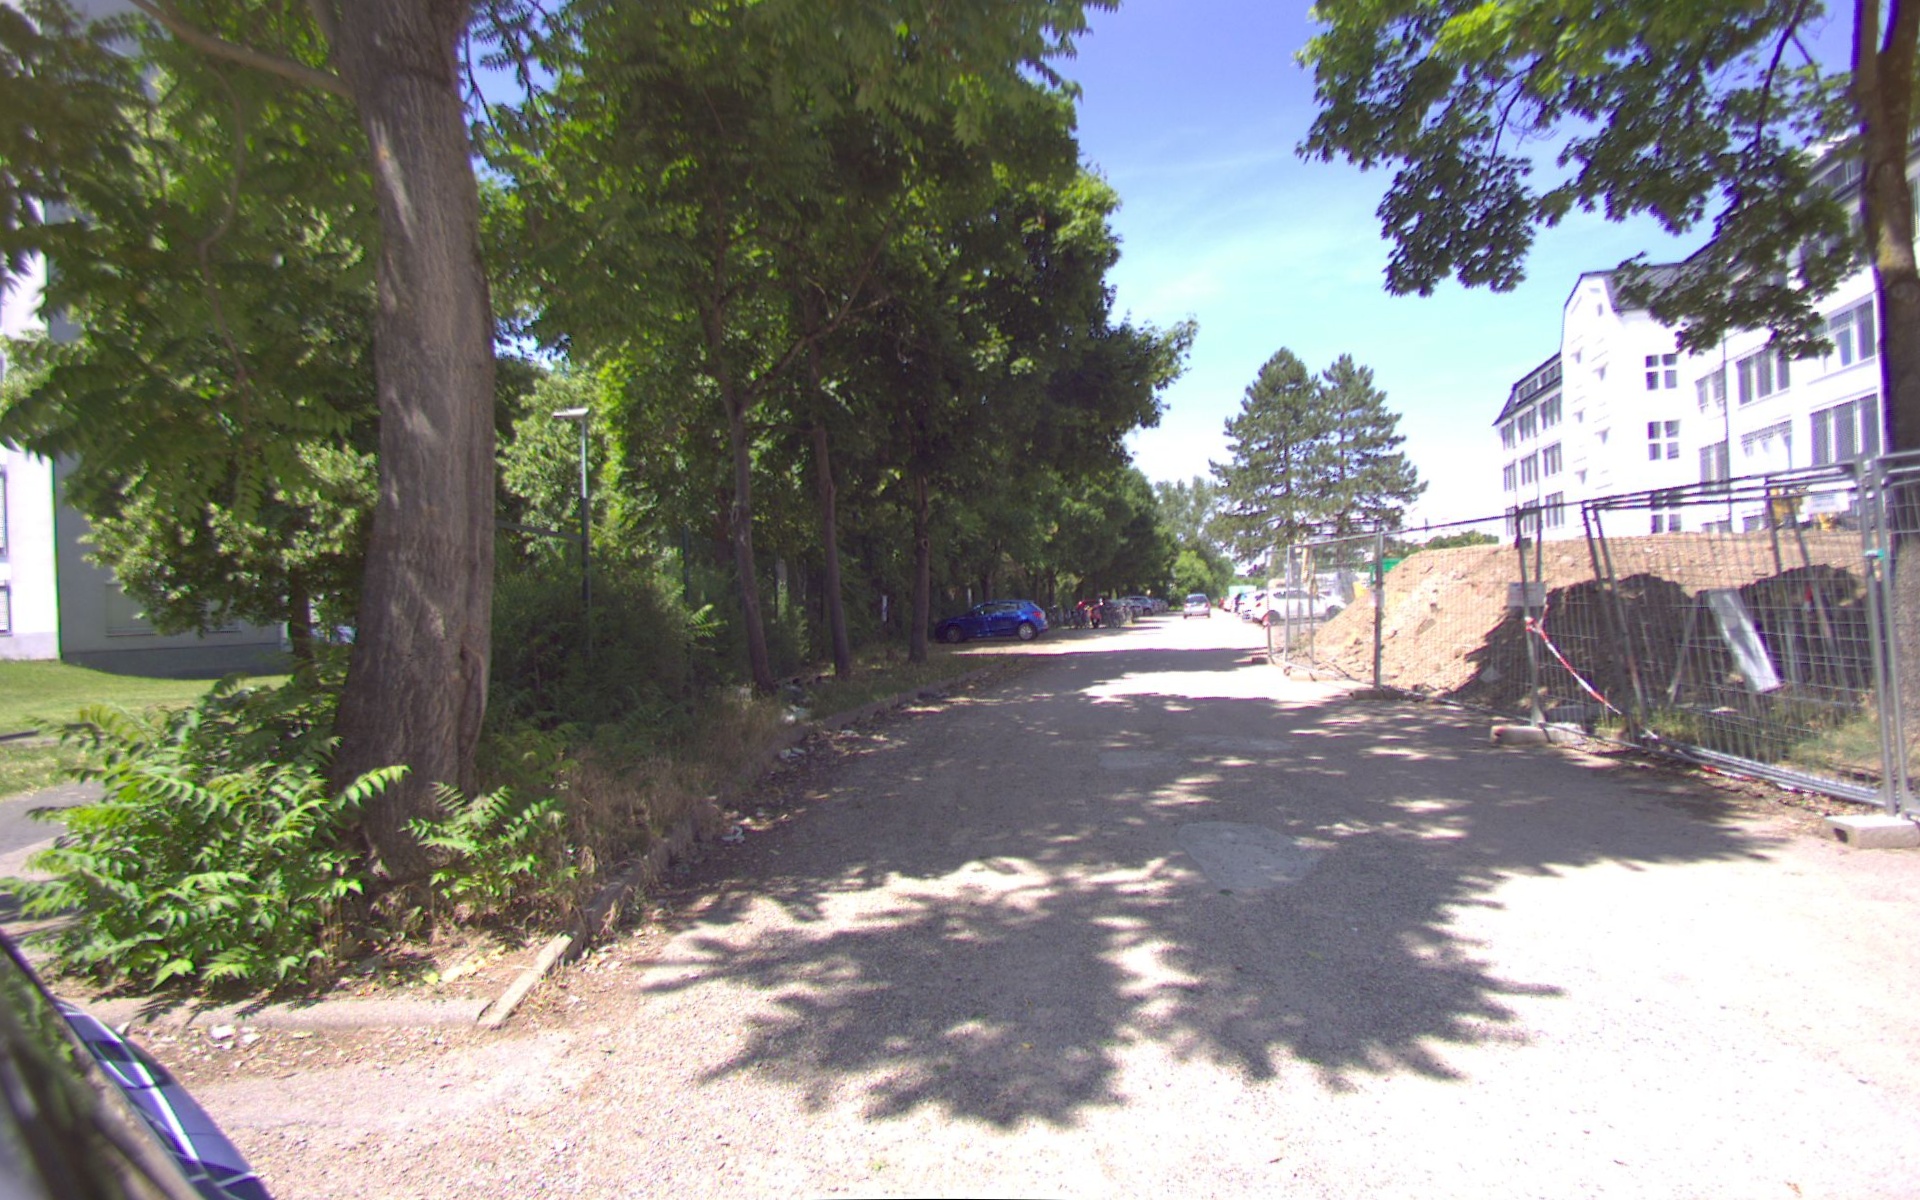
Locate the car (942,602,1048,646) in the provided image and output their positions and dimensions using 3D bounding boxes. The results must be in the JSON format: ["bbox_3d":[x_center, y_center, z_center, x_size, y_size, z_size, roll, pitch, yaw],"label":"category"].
[{"bbox_3d":[1.249,0.823,35.410,3.513,1.432,1.579,-2,-1,9],"label":"car"}]

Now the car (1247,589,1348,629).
[{"bbox_3d":[13.844,0.365,41.707,3.682,1.505,1.450,-2,-1,9],"label":"car"}]

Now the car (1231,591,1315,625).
[{"bbox_3d":[15.279,0.392,49.517,3.682,1.505,1.450,-2,-1,9],"label":"car"}]

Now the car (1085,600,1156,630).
[{"bbox_3d":[8.373,0.777,52.807,3.588,1.425,1.384,-2,-1,11],"label":"car"}]

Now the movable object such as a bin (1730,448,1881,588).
[{"bbox_3d":[29.682,-2.684,35.805,1.984,4.405,5.689,-2,-1,18],"label":"movable object such as a bin"}]

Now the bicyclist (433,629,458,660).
[{"bbox_3d":[-18.488,1.604,36.370,0.514,1.053,0.519,-5,-2,17],"label":"bicyclist"}]

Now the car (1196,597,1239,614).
[{"bbox_3d":[23.989,0.537,94.259,3.682,1.505,1.450,-2,-1,9],"label":"car"}]

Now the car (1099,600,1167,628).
[{"bbox_3d":[9.383,0.768,55.012,3.588,1.425,1.384,-2,-1,11],"label":"car"}]

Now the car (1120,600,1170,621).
[{"bbox_3d":[14.431,0.811,79.054,3.682,1.505,1.450,-2,-1,9],"label":"car"}]

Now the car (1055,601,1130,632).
[{"bbox_3d":[6.477,0.799,49.364,3.588,1.425,1.384,-2,-1,11],"label":"car"}]

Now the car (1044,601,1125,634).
[{"bbox_3d":[5.759,0.814,46.738,3.588,1.425,1.449,-2,-1,11],"label":"car"}]

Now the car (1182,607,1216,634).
[{"bbox_3d":[15.709,1.304,66.709,1.790,1.668,3.914,-2,-1,9],"label":"car"}]

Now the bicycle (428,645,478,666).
[{"bbox_3d":[-18.371,1.997,36.707,0.728,0.646,1.608,-5,-1,16],"label":"bicycle"}]

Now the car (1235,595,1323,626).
[{"bbox_3d":[14.753,0.494,46.934,3.682,1.287,1.450,-2,-1,9],"label":"car"}]
